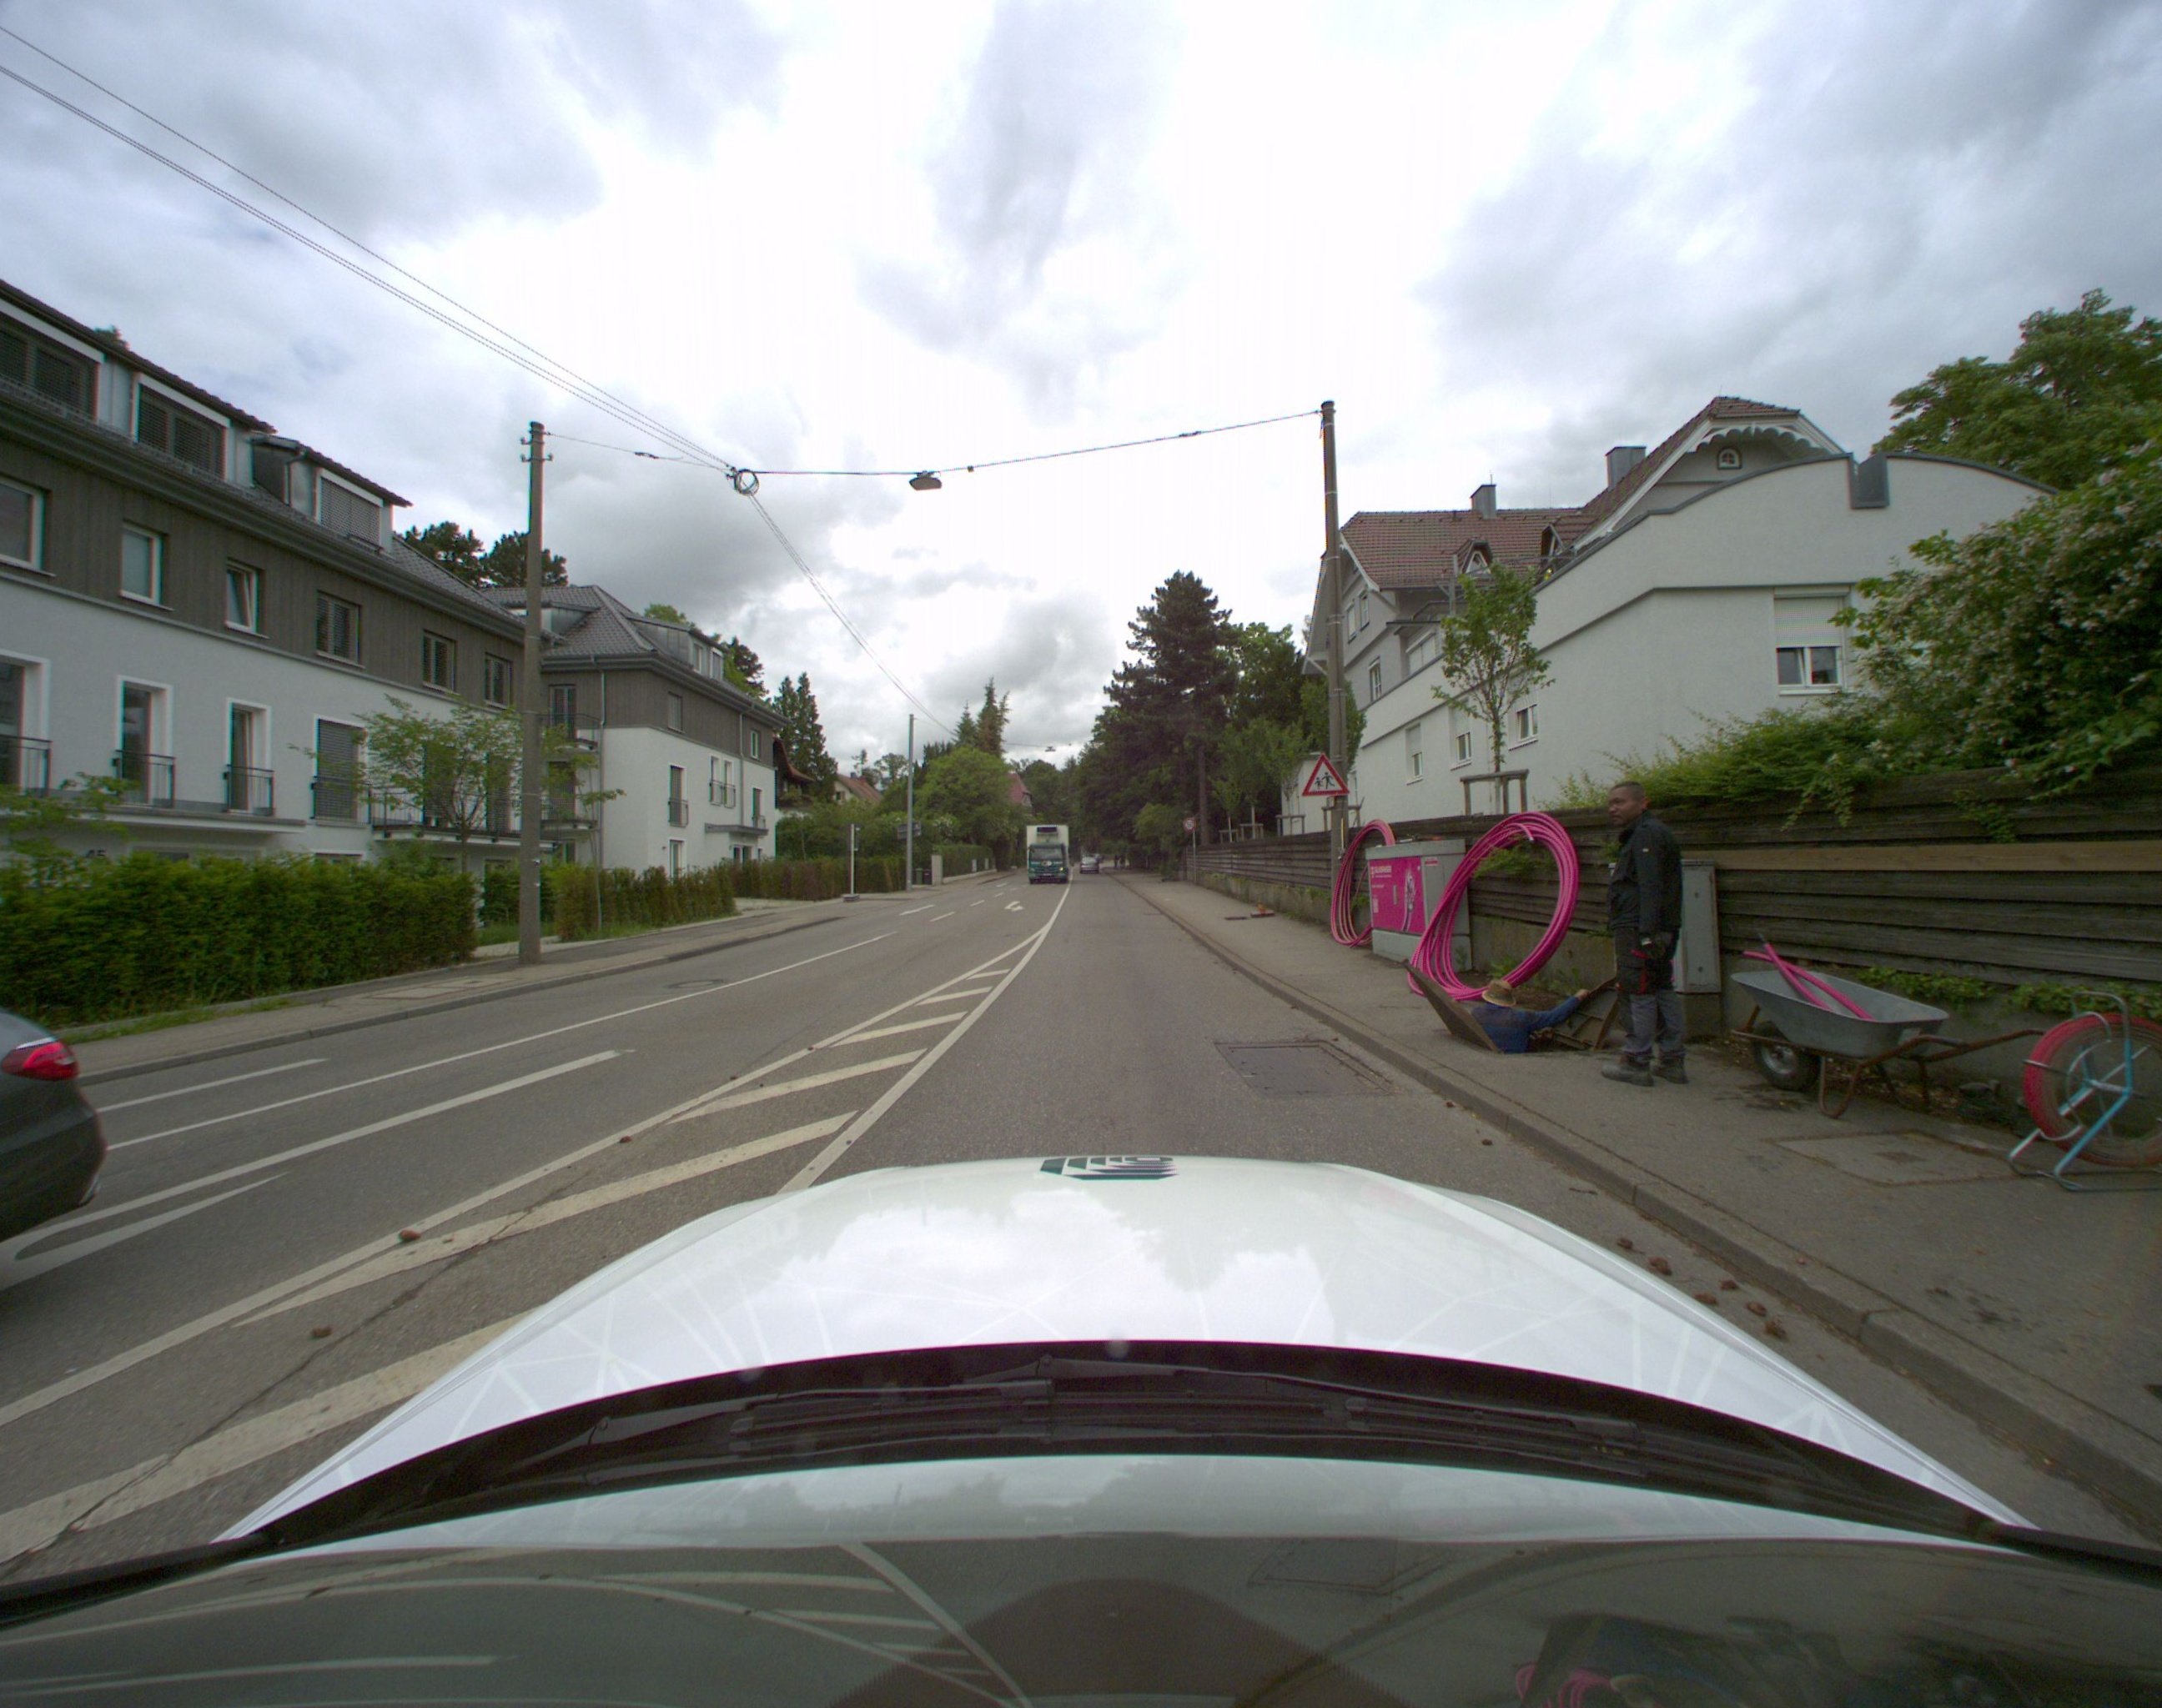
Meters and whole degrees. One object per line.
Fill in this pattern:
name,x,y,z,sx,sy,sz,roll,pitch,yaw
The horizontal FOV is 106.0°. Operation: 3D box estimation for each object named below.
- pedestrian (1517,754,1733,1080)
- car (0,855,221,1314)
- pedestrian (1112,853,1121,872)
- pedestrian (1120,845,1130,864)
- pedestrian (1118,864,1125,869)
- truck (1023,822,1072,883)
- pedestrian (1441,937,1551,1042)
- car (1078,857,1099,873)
pedestrian,3.526,0.364,5.327,0.849,1.924,0.796,-1,0,-20
car,-4.813,0.805,1.062,1.813,1.485,4.764,-3,0,12
pedestrian,3.432,0.816,79.272,0.804,1.807,0.740,-1,0,-1
pedestrian,4.279,0.086,79.110,0.694,1.807,0.665,-1,0,-41
pedestrian,3.828,1.176,76.965,0.670,0.393,0.740,-1,0,-1
truck,-2.080,-0.012,51.196,2.770,3.461,7.486,-1,-1,-2
pedestrian,3.314,1.054,6.505,0.650,0.696,0.578,-1,0,-41
car,0.721,0.991,72.423,1.790,1.415,4.336,-1,-1,1
